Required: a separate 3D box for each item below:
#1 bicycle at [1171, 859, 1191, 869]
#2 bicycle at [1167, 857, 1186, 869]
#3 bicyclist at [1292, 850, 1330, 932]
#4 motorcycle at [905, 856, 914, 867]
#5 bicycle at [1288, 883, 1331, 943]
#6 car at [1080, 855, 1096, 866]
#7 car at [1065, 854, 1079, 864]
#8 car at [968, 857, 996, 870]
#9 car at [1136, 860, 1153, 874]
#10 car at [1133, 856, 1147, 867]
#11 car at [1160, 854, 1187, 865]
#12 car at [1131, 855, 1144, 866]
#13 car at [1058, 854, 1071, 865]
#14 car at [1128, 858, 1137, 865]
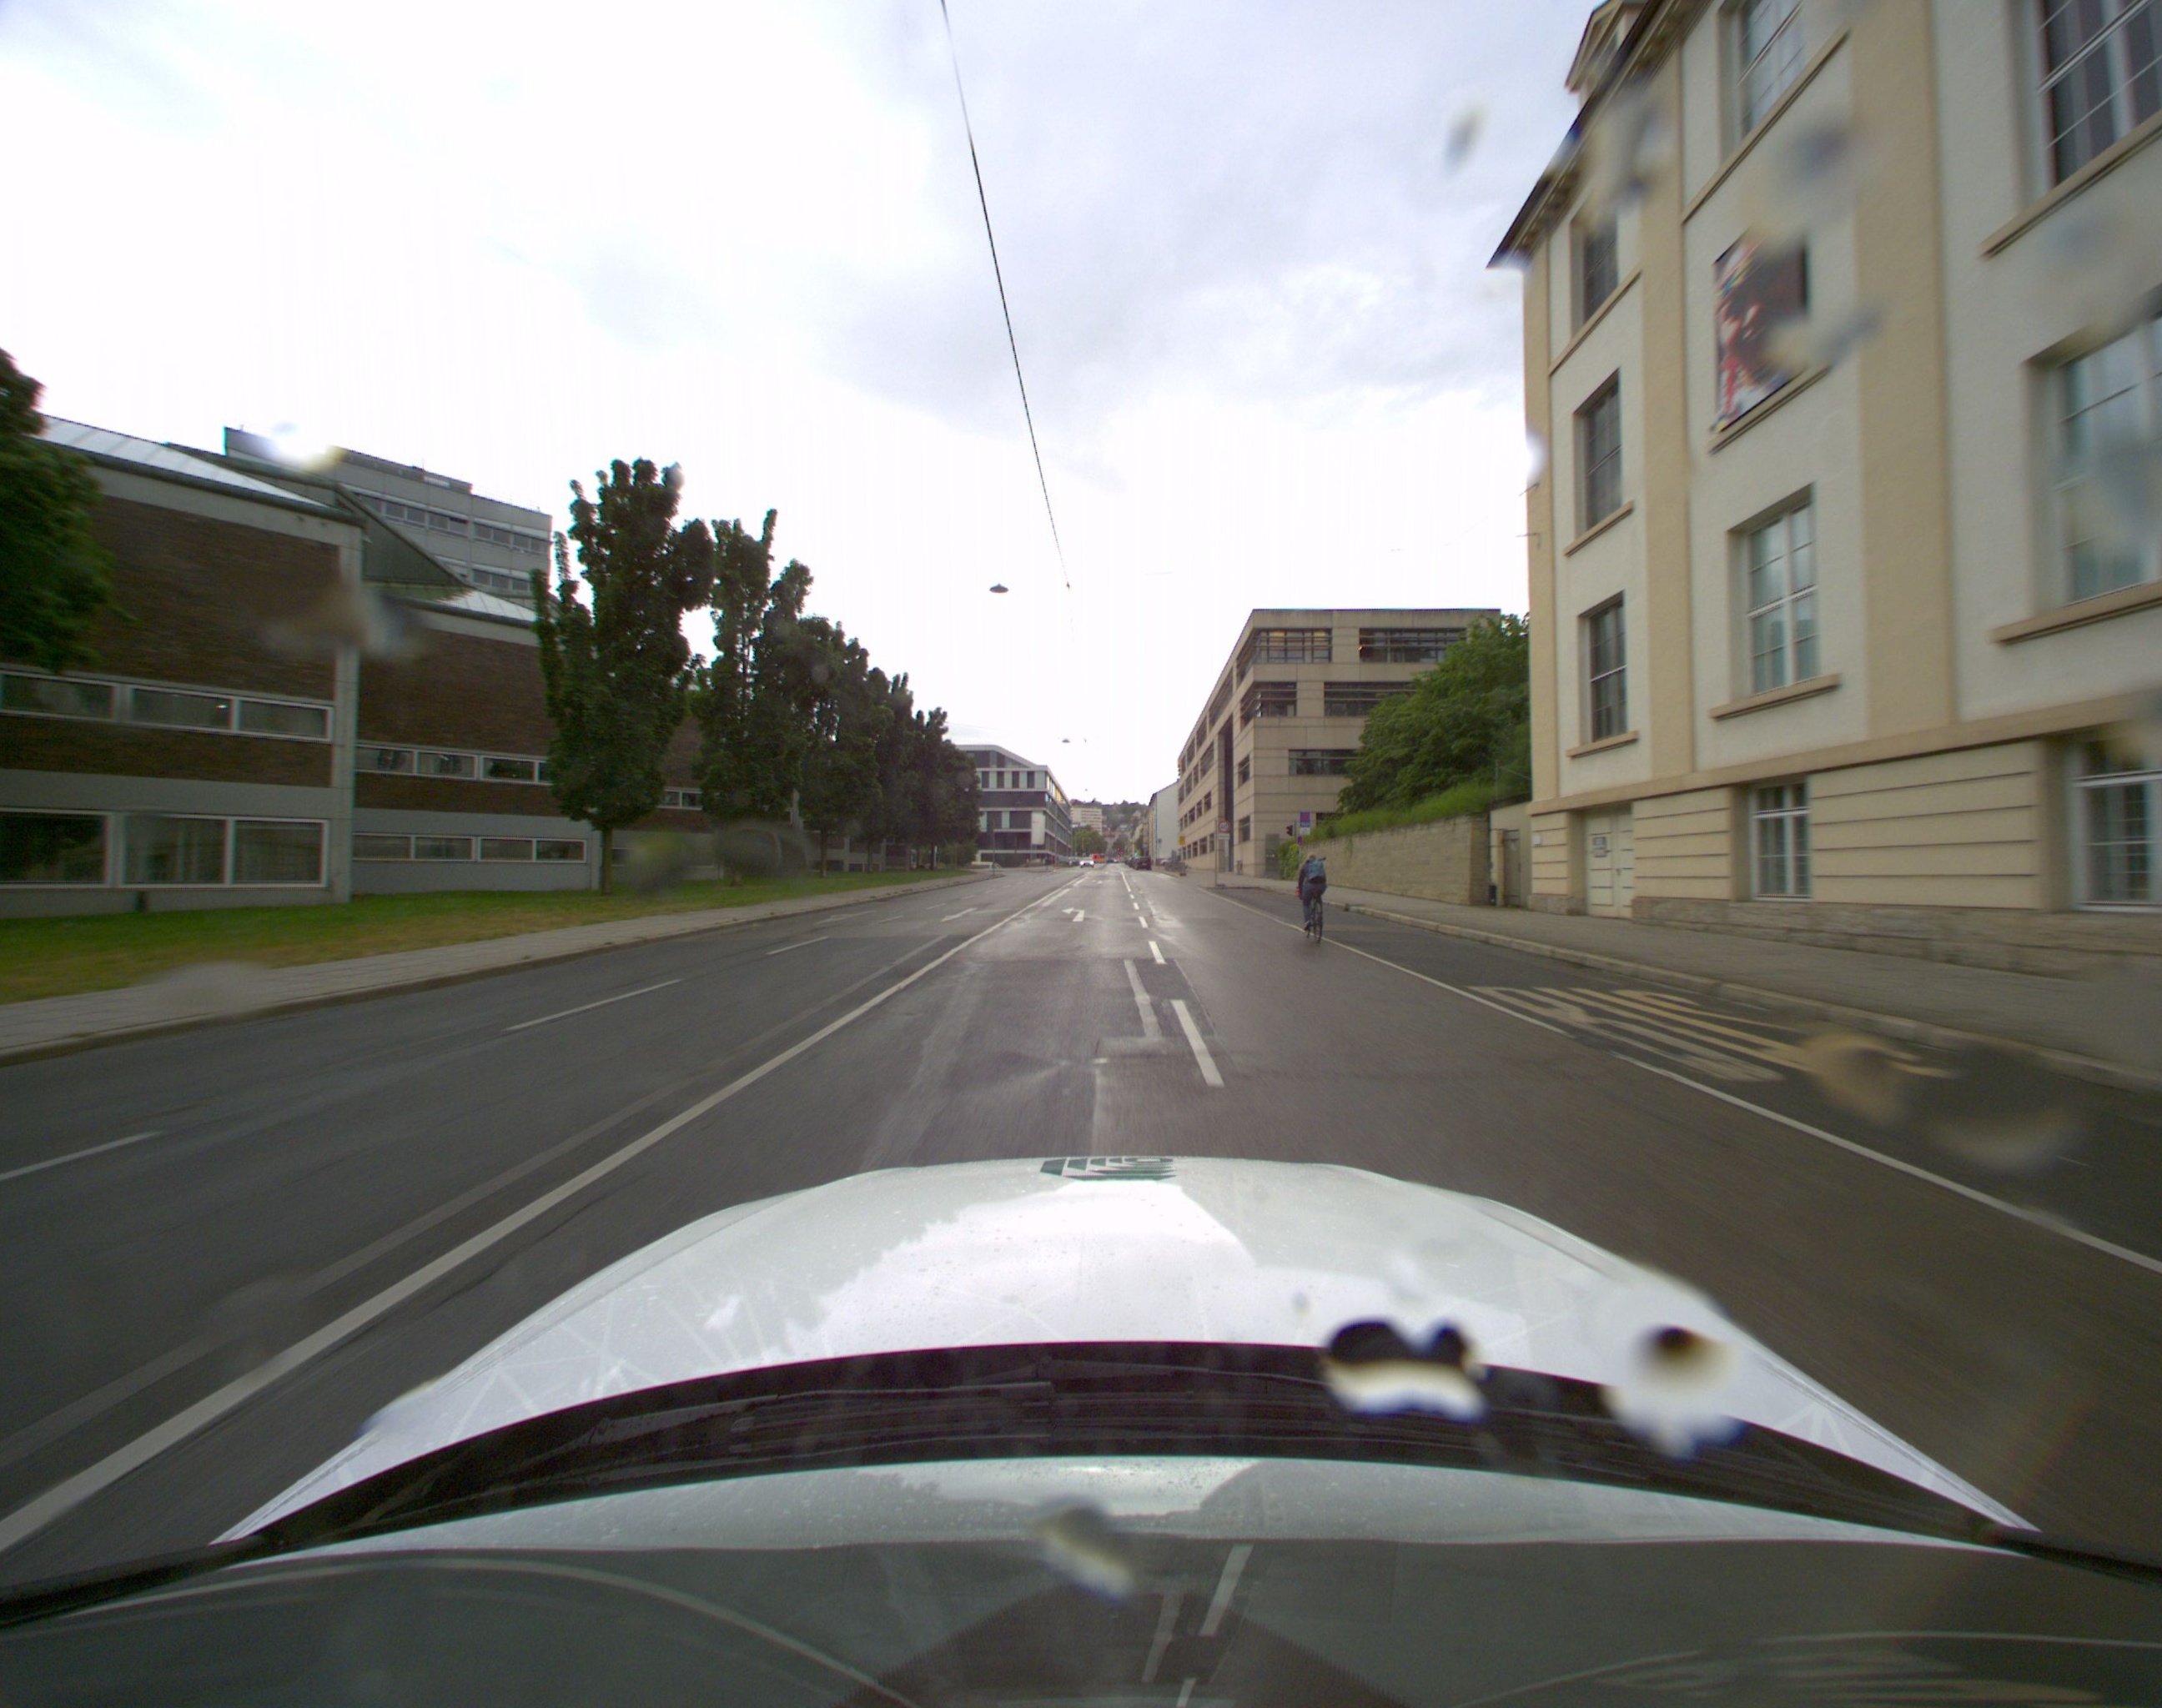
[{"bbox_3d":[9.393,0.922,76.357,1.753,0.953,0.659,0,-1,-1],"label":"bicycle"},{"bbox_3d":[9.082,0.870,77.348,1.725,1.119,0.659,0,-1,-4],"label":"bicycle"},{"bbox_3d":[4.195,0.661,14.870,0.482,1.433,0.931,1,-1,4],"label":"bicyclist"},{"bbox_3d":[-19.571,0.861,93.007,1.155,1.125,0.415,-2,-2,40],"label":"motorcycle"},{"bbox_3d":[4.184,1.057,15.019,0.445,0.963,1.692,0,0,5],"label":"bicycle"},{"bbox_3d":[1.029,0.938,119.737,1.873,1.491,5.227,-2,0,5],"label":"car"},{"bbox_3d":[-1.600,0.968,145.437,1.953,1.750,4.948,1,-1,5],"label":"car"},{"bbox_3d":[-17.149,1.727,141.362,4.580,2.174,1.928,1,-1,-4],"label":"car"},{"bbox_3d":[7.772,1.586,100.222,1.765,1.604,4.395,1,-1,1],"label":"car"},{"bbox_3d":[8.487,1.061,116.496,1.737,1.533,4.320,1,-1,1],"label":"car"},{"bbox_3d":[15.985,0.903,141.433,4.422,1.713,1.905,-3,-1,1],"label":"car"},{"bbox_3d":[9.136,1.078,132.832,1.928,1.750,4.799,1,-1,2],"label":"car"},{"bbox_3d":[-2.599,0.872,128.603,1.842,1.617,4.493,1,-1,2],"label":"car"},{"bbox_3d":[10.488,1.600,167.095,1.699,1.454,3.986,1,-1,2],"label":"car"}]
